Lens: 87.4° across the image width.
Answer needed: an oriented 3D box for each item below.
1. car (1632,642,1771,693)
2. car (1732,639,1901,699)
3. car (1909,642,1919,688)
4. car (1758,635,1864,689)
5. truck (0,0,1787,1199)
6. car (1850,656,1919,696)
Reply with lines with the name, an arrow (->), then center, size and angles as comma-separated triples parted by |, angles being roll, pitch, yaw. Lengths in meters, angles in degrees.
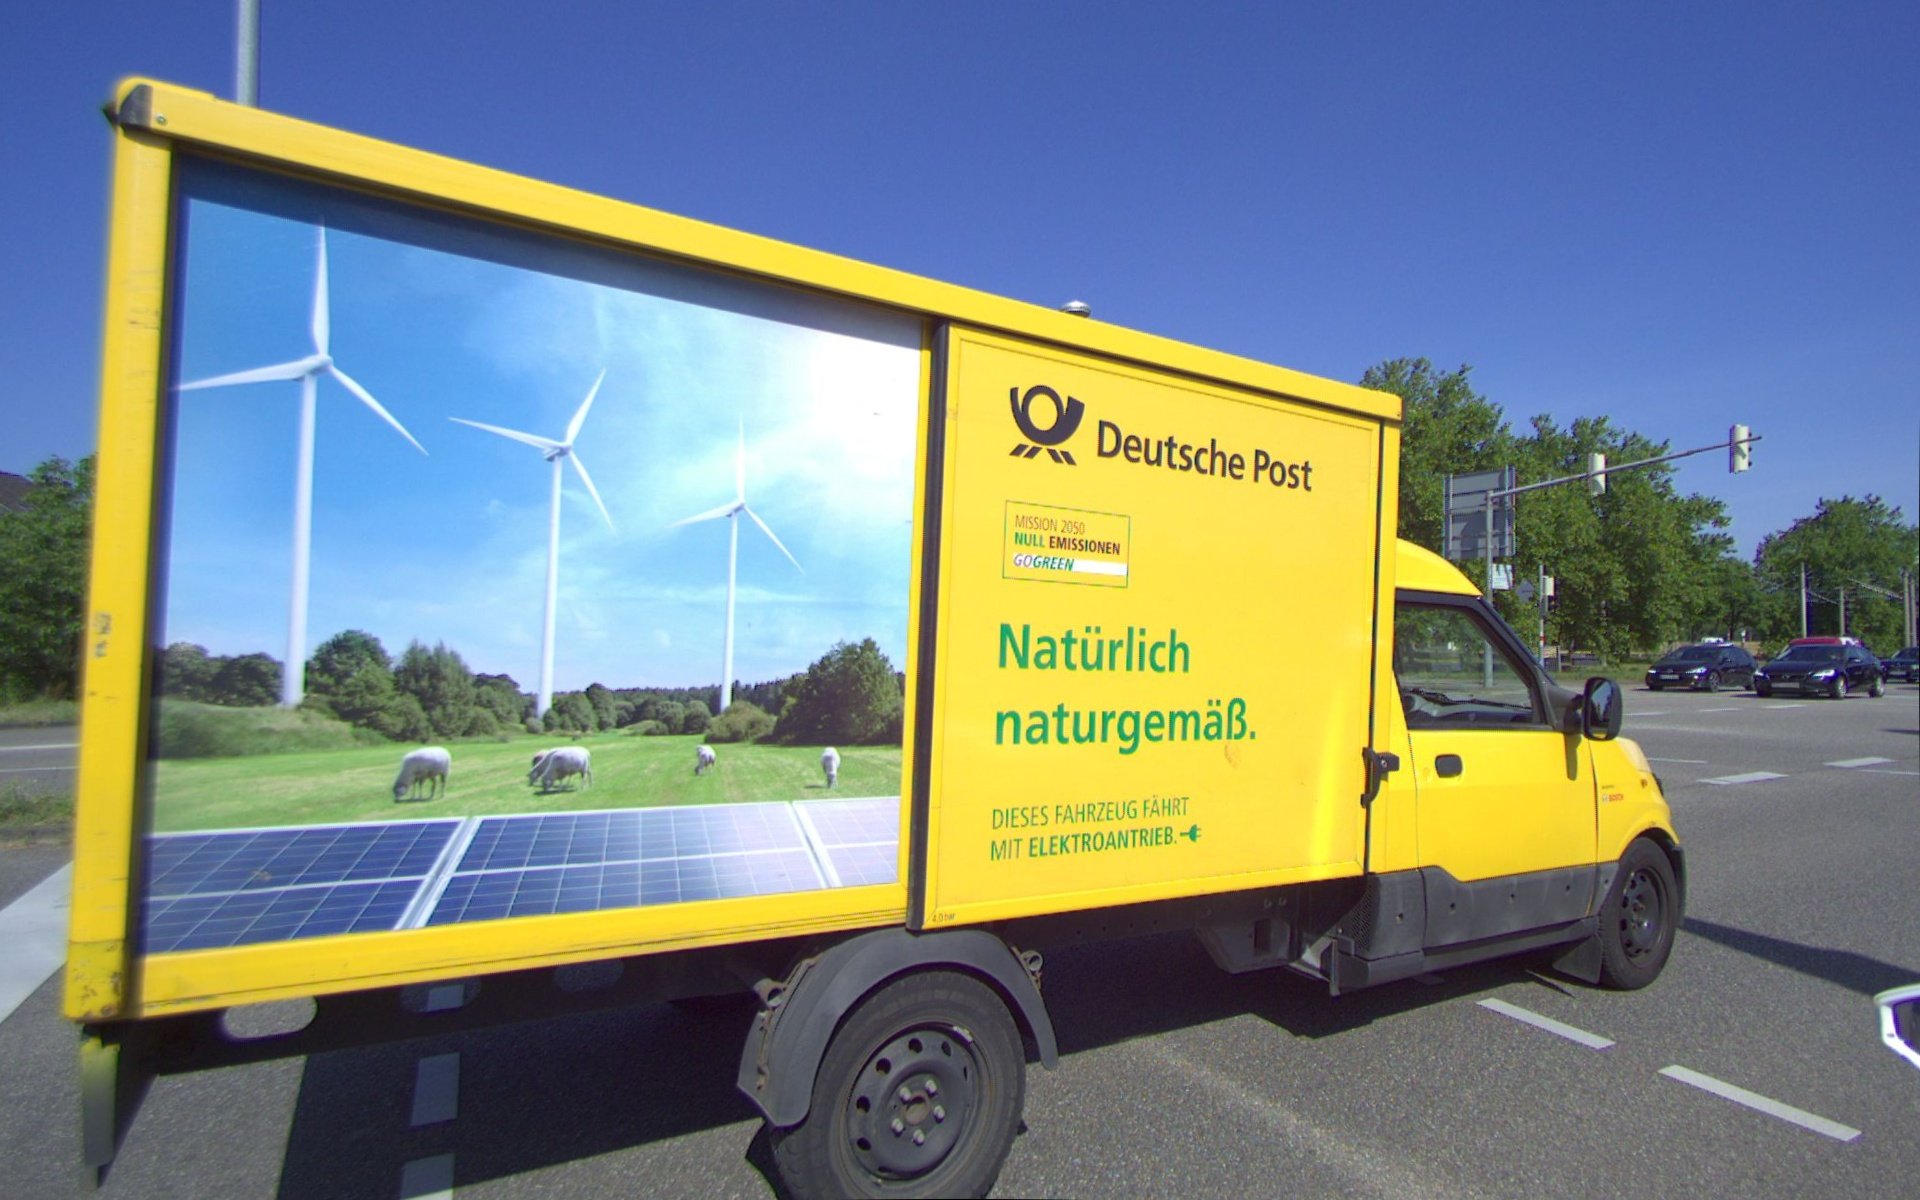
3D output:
car -> 23.271, 2.086, 31.527 | 4.175, 1.476, 1.878 | 2, -2, -27
car -> 22.784, 1.793, 26.707 | 4.277, 1.476, 1.974 | 2, -2, -27
car -> 32.713, 2.122, 32.733 | 3.826, 1.476, 1.611 | 2, -2, -30
car -> 29.880, 2.149, 35.238 | 4.184, 1.793, 1.694 | 2, -3, -33
truck -> 0.455, 0.310, 3.679 | 5.848, 2.490, 2.102 | 2, -1, -30
car -> 38.904, 3.053, 41.052 | 5.546, 1.493, 1.986 | 2, -2, -28
